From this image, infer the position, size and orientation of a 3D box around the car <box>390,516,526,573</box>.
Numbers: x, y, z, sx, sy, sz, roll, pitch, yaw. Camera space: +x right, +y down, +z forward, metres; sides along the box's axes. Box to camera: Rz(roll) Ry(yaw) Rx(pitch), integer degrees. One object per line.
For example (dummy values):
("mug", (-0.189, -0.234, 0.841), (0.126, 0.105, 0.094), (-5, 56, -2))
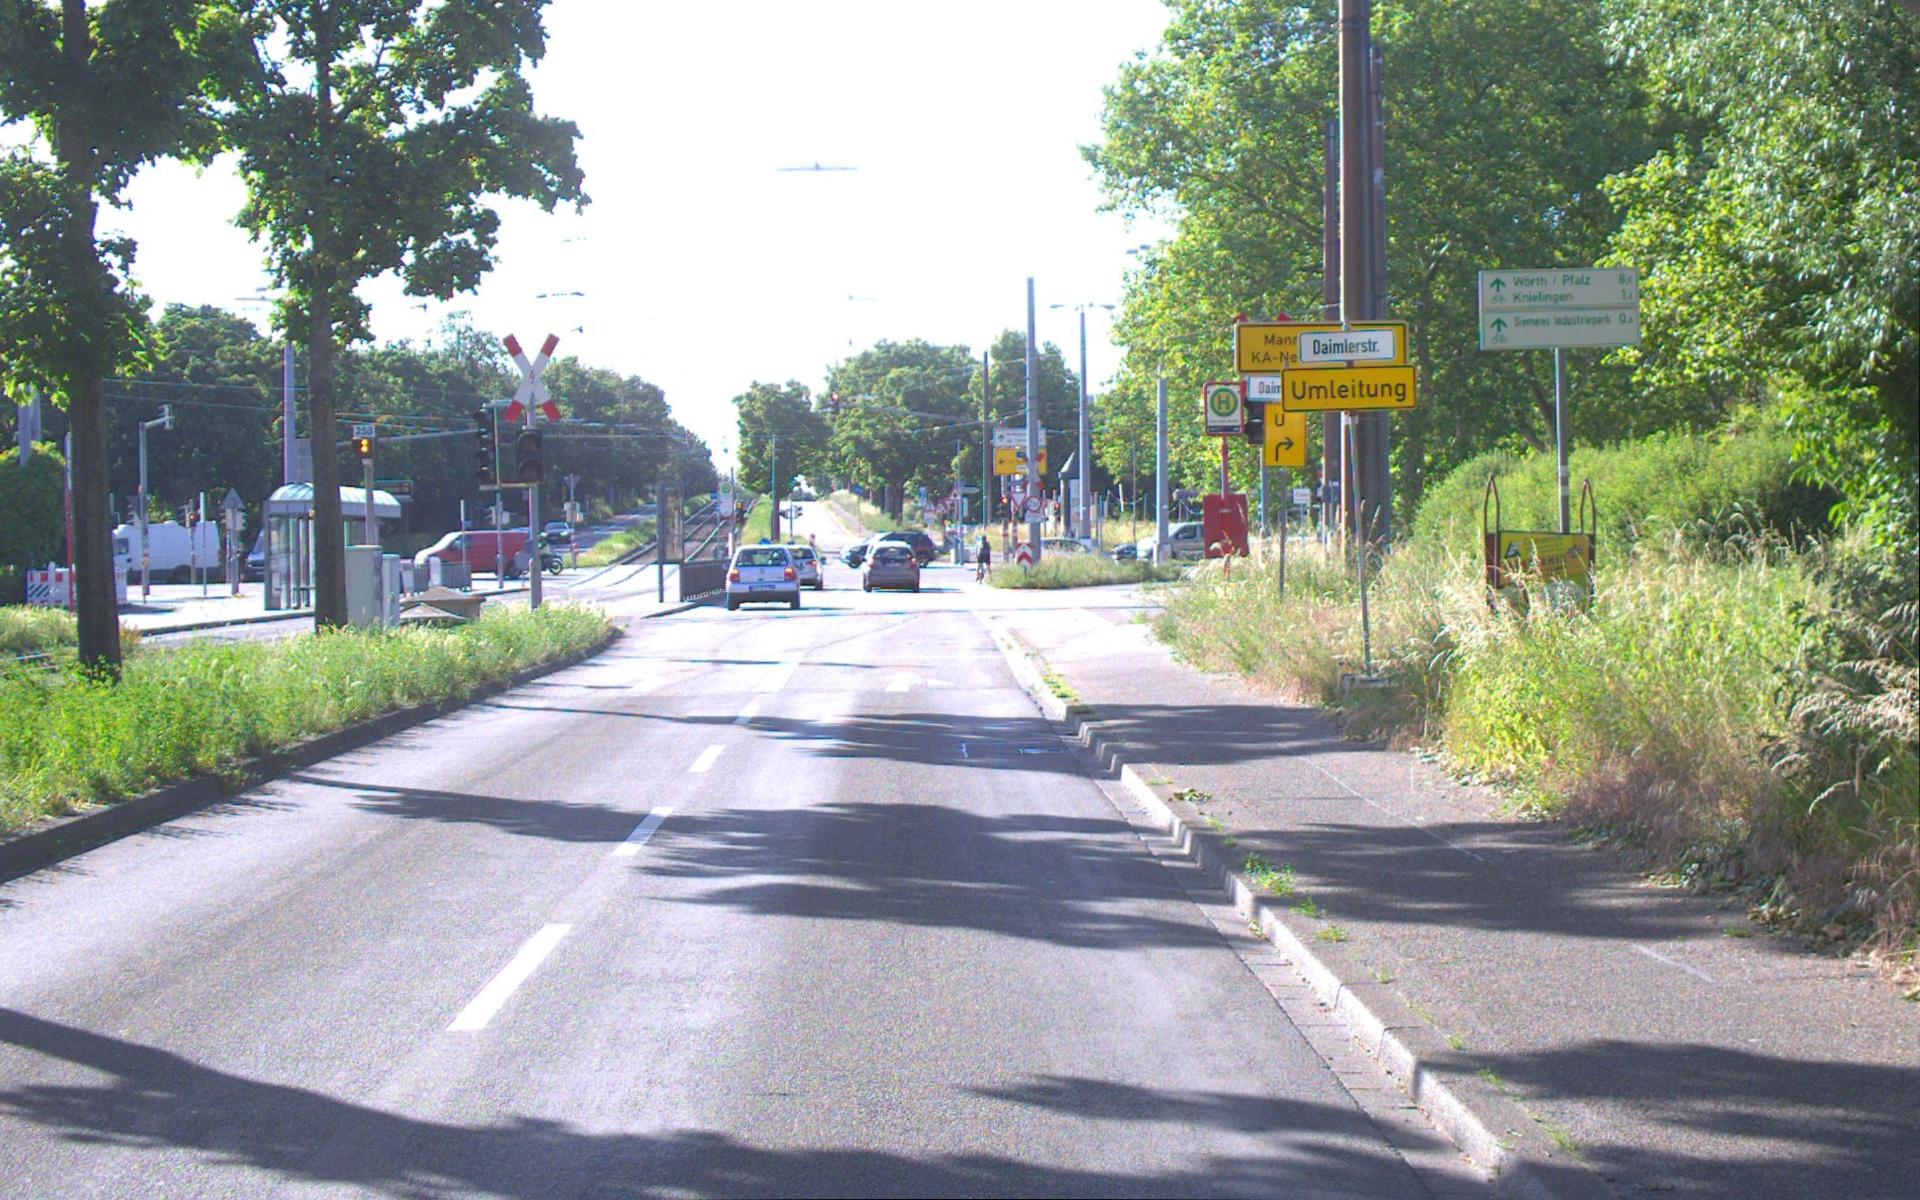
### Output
("car", (-20.662, -2.276, 141.492), (5.147, 2.267, 2.001), (0, 1, -25))

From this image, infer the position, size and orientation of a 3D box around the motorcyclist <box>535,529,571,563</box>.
("motorcyclist", (-17.454, -2.312, 147.445), (1.315, 1.444, 0.730), (0, 1, -26))

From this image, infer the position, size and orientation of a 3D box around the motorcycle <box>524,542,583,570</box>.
("motorcycle", (-17.444, -1.884, 147.463), (2.373, 1.179, 0.730), (0, 1, -26))

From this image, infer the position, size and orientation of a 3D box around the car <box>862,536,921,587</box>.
("car", (-2.151, -1.229, 108.212), (1.791, 1.553, 4.228), (1, 1, -1))

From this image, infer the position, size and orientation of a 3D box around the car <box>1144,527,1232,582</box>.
("car", (6.915, -1.365, 103.729), (1.861, 1.595, 4.225), (1, 1, 15))

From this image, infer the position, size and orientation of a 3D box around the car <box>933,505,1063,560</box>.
("car", (1.609, -2.879, 146.648), (5.147, 2.267, 2.001), (0, 1, -25))

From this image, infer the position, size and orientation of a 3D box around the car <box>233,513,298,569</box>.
("car", (-30.029, -2.562, 148.770), (2.088, 2.346, 5.262), (1, 1, -5))

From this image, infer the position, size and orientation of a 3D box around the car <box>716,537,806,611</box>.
("car", (-4.462, -0.614, 77.472), (1.860, 1.595, 4.228), (1, 1, -1))

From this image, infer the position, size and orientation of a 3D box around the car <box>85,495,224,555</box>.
("car", (-32.793, -3.042, 139.994), (5.242, 2.346, 1.866), (0, 1, -24))

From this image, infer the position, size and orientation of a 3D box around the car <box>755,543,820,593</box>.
("car", (-5.666, -1.076, 113.352), (1.993, 1.598, 4.474), (1, 1, -1))

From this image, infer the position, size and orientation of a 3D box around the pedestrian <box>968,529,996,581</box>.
("pedestrian", (0.783, -1.580, 121.677), (0.926, 1.829, 0.638), (1, 1, 4))
